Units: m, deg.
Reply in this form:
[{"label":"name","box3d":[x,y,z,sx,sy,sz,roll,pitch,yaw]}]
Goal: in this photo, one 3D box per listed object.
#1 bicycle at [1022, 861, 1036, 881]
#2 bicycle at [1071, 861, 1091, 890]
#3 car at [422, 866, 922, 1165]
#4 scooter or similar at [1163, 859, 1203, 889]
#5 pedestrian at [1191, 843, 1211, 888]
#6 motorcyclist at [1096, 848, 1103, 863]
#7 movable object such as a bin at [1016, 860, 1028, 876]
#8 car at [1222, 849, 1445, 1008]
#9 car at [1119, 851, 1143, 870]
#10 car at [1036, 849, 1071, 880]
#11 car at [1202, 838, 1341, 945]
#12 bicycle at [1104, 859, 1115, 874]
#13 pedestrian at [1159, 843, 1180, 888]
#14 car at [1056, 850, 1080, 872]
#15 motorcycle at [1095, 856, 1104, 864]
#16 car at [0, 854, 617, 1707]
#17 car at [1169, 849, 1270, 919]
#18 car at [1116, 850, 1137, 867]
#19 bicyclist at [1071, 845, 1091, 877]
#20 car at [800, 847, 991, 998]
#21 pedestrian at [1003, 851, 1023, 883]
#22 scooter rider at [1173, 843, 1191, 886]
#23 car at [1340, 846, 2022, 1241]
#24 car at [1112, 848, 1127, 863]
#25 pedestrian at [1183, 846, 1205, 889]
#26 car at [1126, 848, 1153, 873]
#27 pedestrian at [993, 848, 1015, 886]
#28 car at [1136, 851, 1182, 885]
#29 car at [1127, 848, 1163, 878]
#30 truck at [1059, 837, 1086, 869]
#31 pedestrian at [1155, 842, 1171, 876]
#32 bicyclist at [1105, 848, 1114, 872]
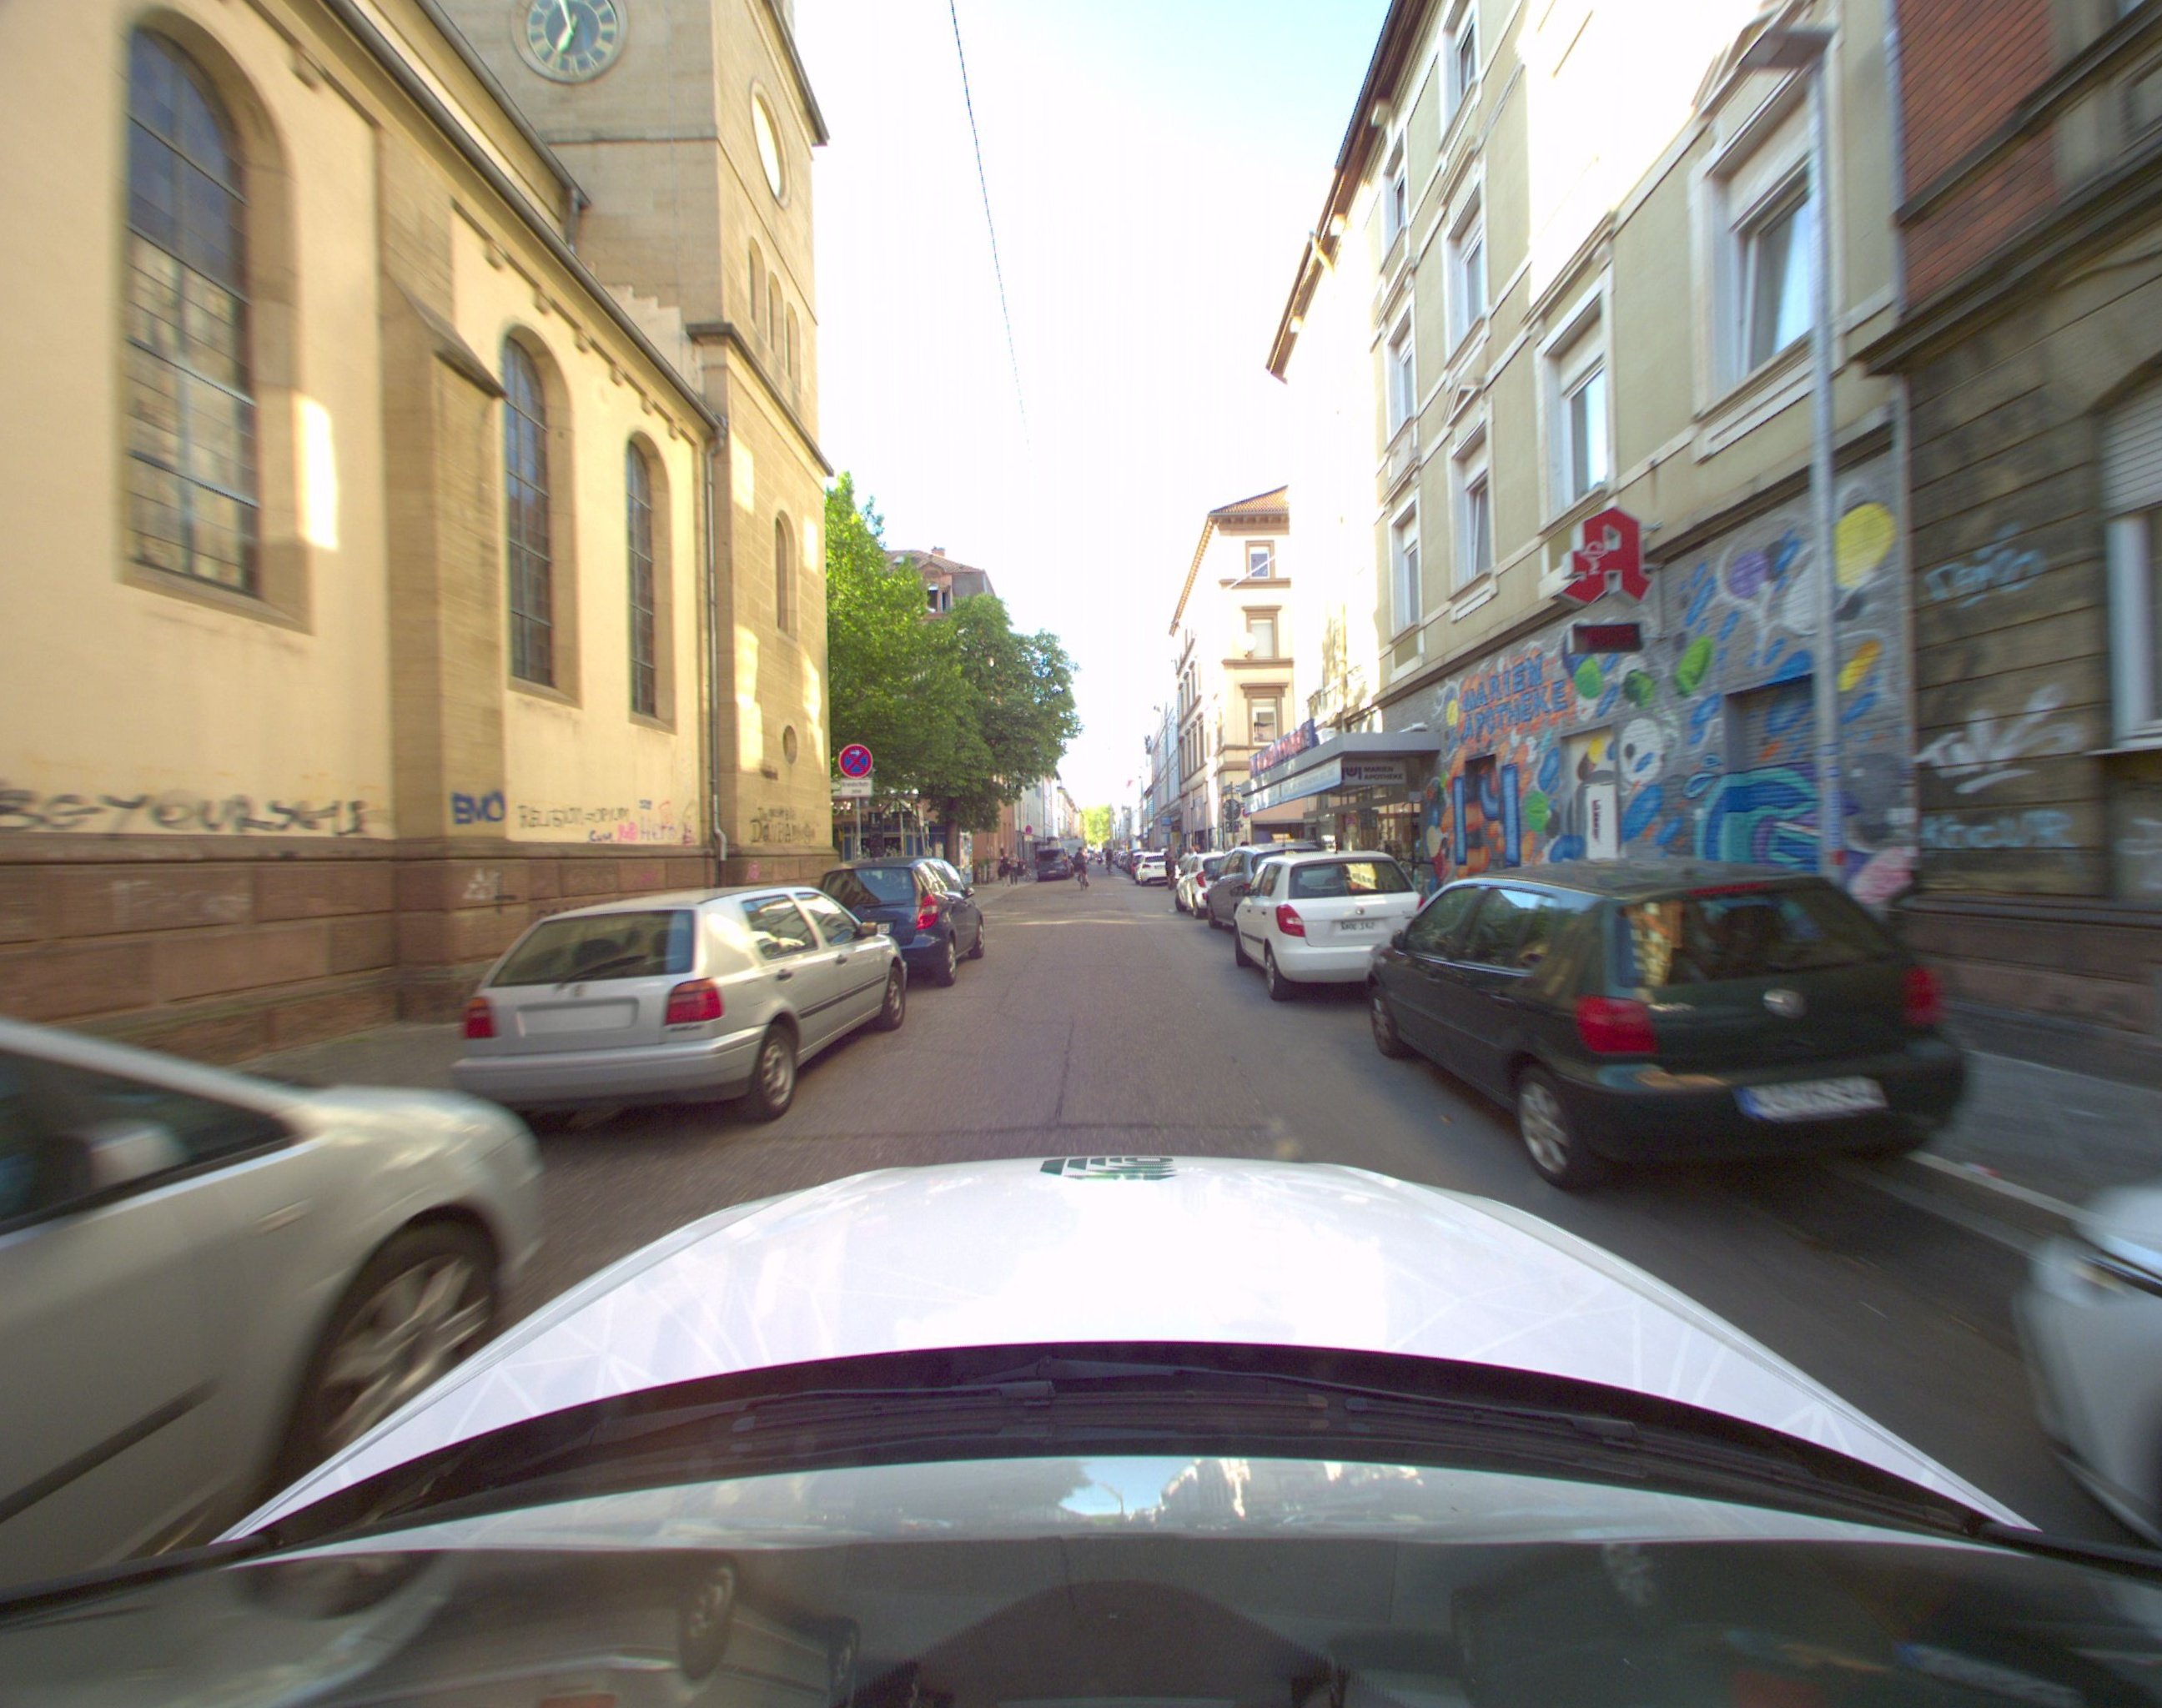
[{"label":"bicycle","box3d":[-3.013,0.979,47.371,0.644,1.108,1.599,-2,0,-9]},{"label":"bicycle","box3d":[0.011,0.879,33.693,0.762,1.110,1.948,-2,0,2]},{"label":"car","box3d":[-2.543,0.887,6.202,1.563,1.398,3.812,-5,0,4]},{"label":"scooter or similar","box3d":[4.022,0.790,32.066,1.521,1.139,0.602,-2,0,6]},{"label":"pedestrian","box3d":[4.445,0.424,30.228,0.460,1.642,0.496,-1,0,-39]},{"label":"motorcyclist","box3d":[2.468,0.200,109.068,0.899,2.013,1.190,-2,0,-1]},{"label":"movable object such as a bin","box3d":[-4.183,0.978,57.687,0.711,1.141,0.584,-2,0,5]},{"label":"car","box3d":[2.736,0.701,9.731,1.597,1.505,4.003,0,0,3]},{"label":"car","box3d":[4.446,0.548,72.233,1.986,1.632,4.002,1,0,2]},{"label":"car","box3d":[-1.655,0.609,50.436,1.868,1.796,4.002,-2,0,2]},{"label":"car","box3d":[3.330,0.593,14.969,1.710,1.645,4.002,-2,0,2]},{"label":"bicycle","box3d":[1.996,0.854,56.462,0.736,1.043,1.860,-2,0,2]},{"label":"pedestrian","box3d":[3.598,0.462,33.218,0.681,1.843,0.692,-1,0,-10]},{"label":"car","box3d":[-1.107,0.601,72.090,1.868,1.796,4.002,-2,0,2]},{"label":"motorcycle","box3d":[2.474,0.768,109.030,1.039,0.980,2.824,-2,0,0]},{"label":"car","box3d":[-2.546,0.818,0.900,1.667,1.558,4.000,-3,0,1]},{"label":"car","box3d":[3.271,0.654,19.896,1.712,1.488,3.867,-2,0,-1]},{"label":"car","box3d":[4.635,0.476,82.884,1.986,1.686,4.002,1,0,2]},{"label":"bicyclist","box3d":[0.001,0.291,33.667,0.752,1.306,1.063,-2,0,2]},{"label":"car","box3d":[-2.323,0.778,11.185,1.594,1.614,3.809,-4,0,1]},{"label":"pedestrian","box3d":[-3.592,0.691,43.192,0.925,1.637,0.807,-2,0,2]},{"label":"scooter rider","box3d":[3.989,0.418,32.076,0.646,1.642,0.685,-2,0,8]},{"label":"car","box3d":[2.862,0.714,4.933,1.563,1.495,3.655,0,0,2]},{"label":"car","box3d":[5.391,0.222,114.592,1.986,2.013,4.002,-2,0,2]},{"label":"pedestrian","box3d":[4.309,0.508,31.118,0.546,1.642,0.600,-1,0,-39]},{"label":"car","box3d":[4.196,0.438,59.013,1.762,1.741,4.002,-2,0,2]},{"label":"pedestrian","box3d":[-3.768,0.636,40.049,0.925,1.786,0.807,-2,0,2]},{"label":"car","box3d":[3.588,0.621,38.182,1.890,1.488,3.871,-2,0,2]},{"label":"car","box3d":[3.781,0.506,48.408,1.890,1.651,4.002,-2,0,2]},{"label":"truck","box3d":[-0.838,-0.157,88.695,2.522,3.281,6.997,-2,0,2]},{"label":"pedestrian","box3d":[4.564,0.290,45.382,0.778,1.843,1.014,-1,0,10]},{"label":"bicyclist","box3d":[1.987,0.407,56.468,0.603,1.688,0.885,-2,0,1]}]
